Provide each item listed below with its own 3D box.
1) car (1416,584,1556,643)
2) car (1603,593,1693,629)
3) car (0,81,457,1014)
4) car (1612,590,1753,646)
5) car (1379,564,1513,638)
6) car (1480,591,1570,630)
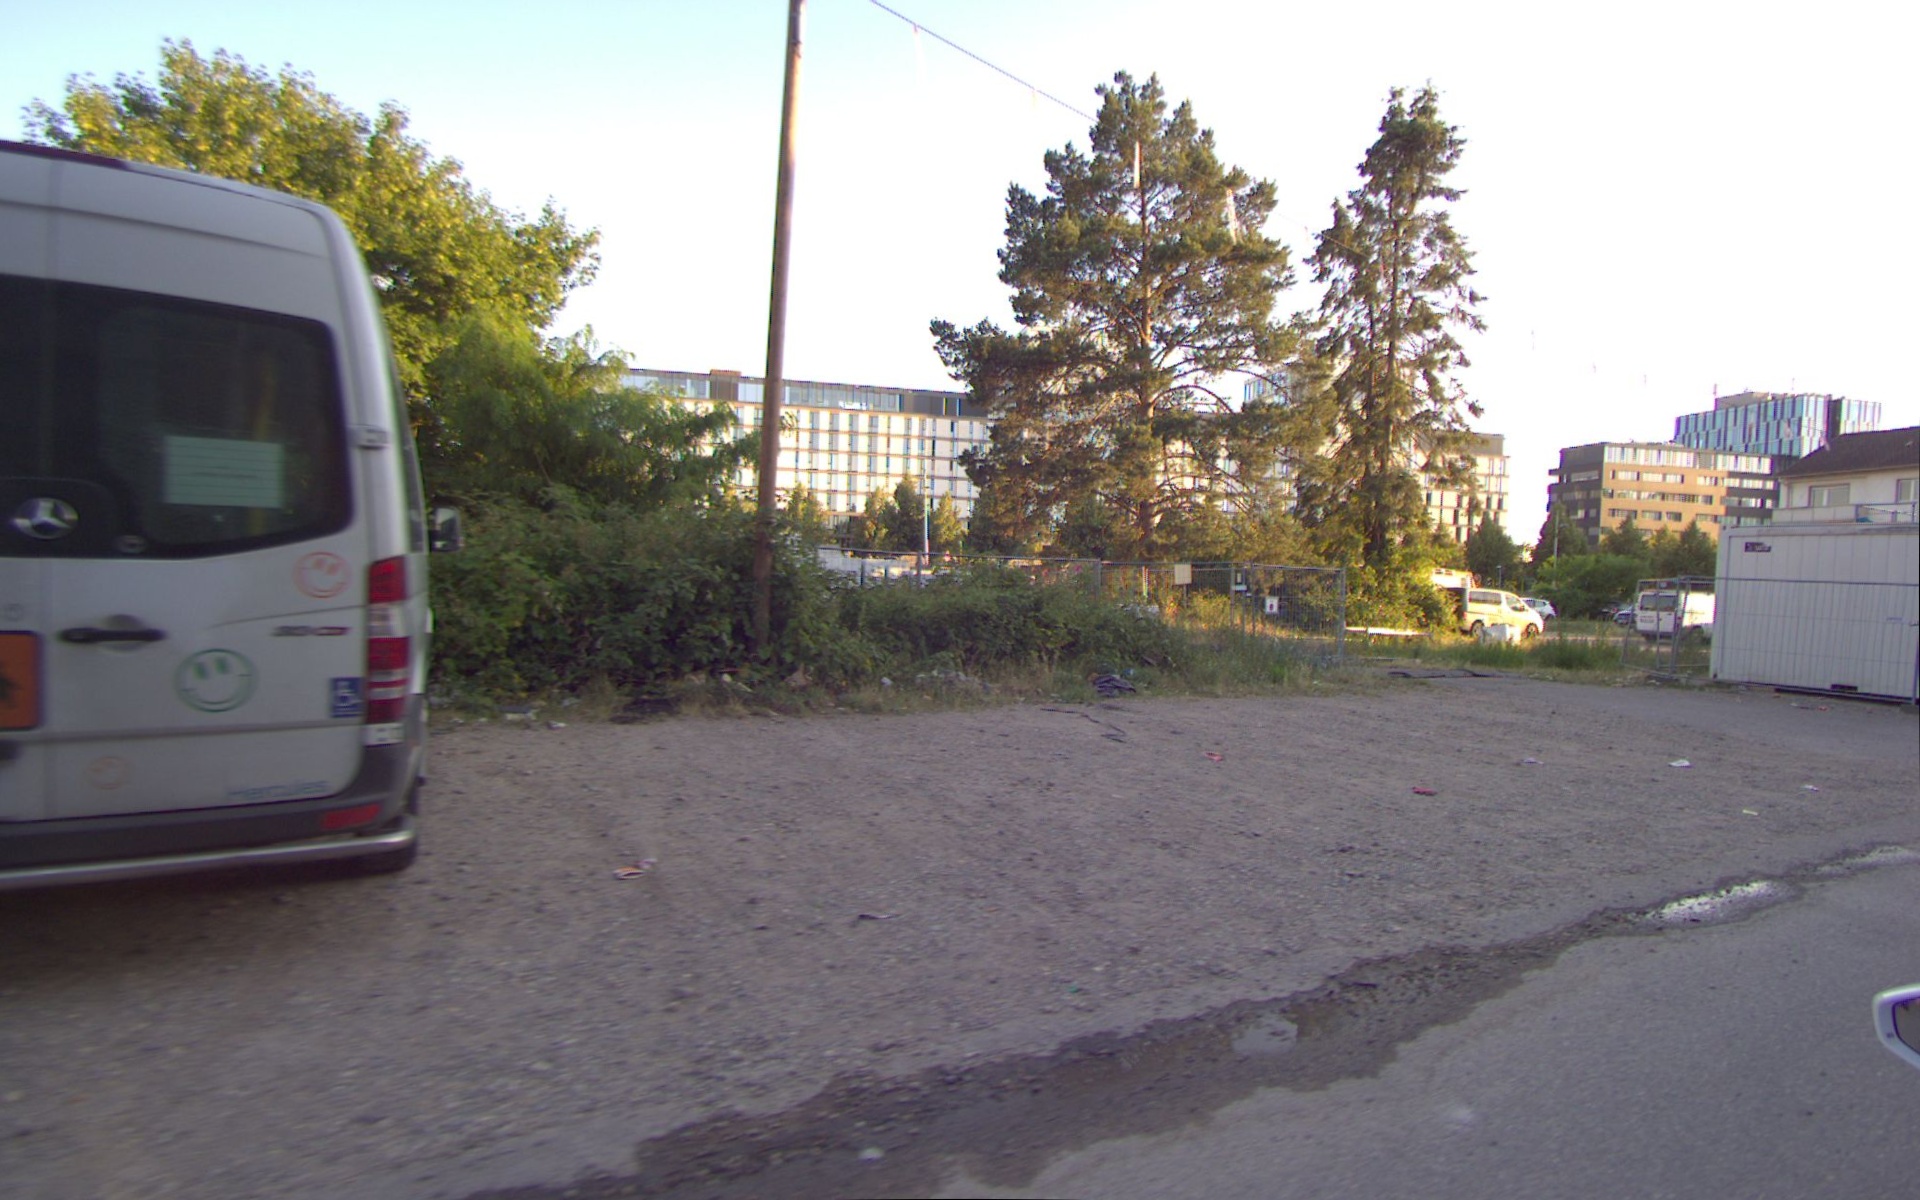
[{"bbox_3d":[19.876,0.523,37.969,4.787,2.001,1.990,2,1,-22],"label":"car"},{"bbox_3d":[44.451,0.711,64.896,4.981,2.041,2.305,2,1,-20],"label":"car"},{"bbox_3d":[-3.975,-0.266,5.411,2.193,2.661,5.667,2,2,-27],"label":"car"},{"bbox_3d":[29.182,0.737,40.576,4.986,2.041,2.302,2,1,-23],"label":"car"},{"bbox_3d":[19.293,0.057,39.920,4.787,2.728,1.990,2,1,-22],"label":"car"},{"bbox_3d":[32.172,0.615,57.163,4.793,2.001,1.987,2,1,-25],"label":"car"}]
